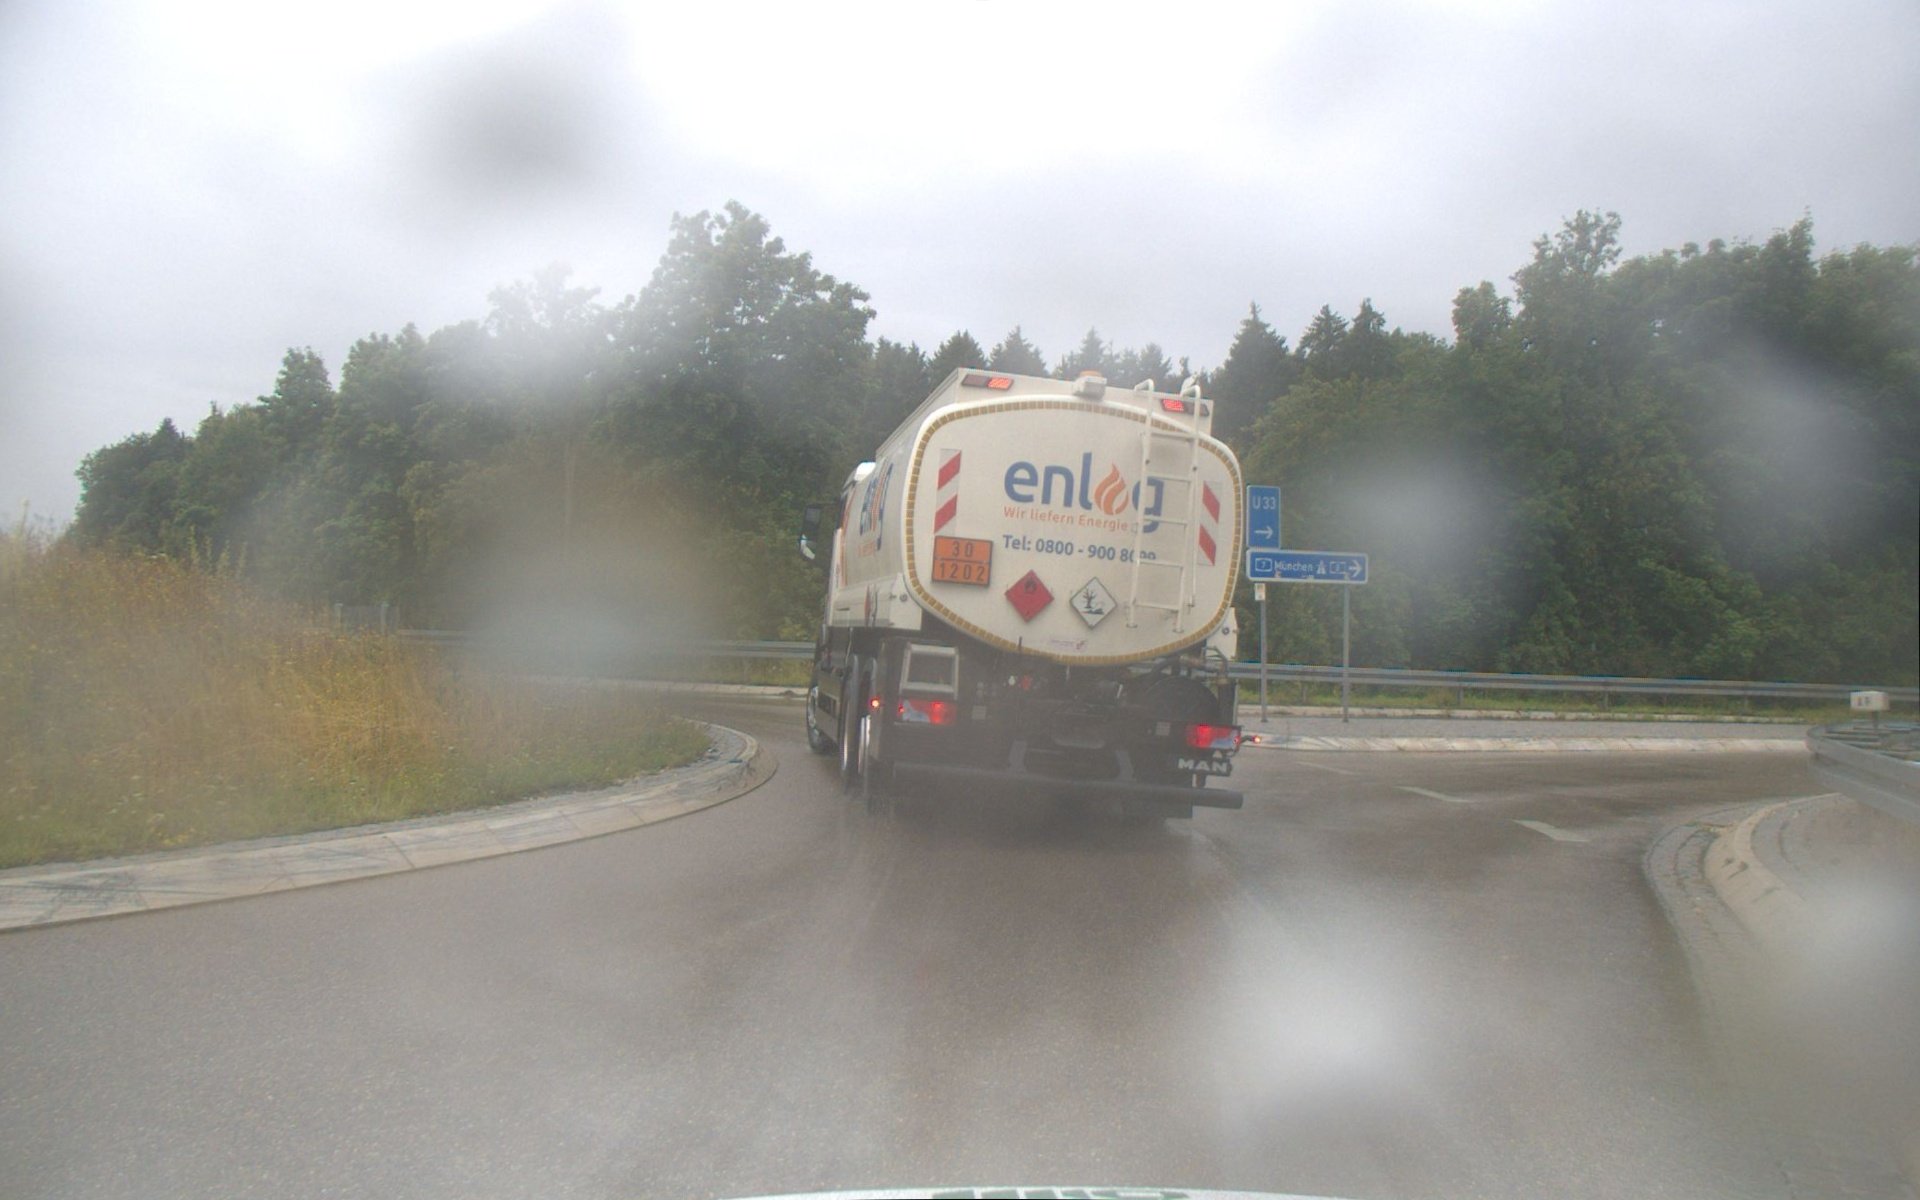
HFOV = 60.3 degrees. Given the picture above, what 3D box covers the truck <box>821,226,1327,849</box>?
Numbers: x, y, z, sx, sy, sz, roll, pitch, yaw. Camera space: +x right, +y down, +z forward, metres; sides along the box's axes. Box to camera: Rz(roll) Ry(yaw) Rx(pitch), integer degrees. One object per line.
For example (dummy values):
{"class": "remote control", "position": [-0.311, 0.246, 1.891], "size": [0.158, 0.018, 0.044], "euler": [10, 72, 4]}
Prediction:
{"class": "truck", "position": [0.406, -0.342, 15.120], "size": [2.981, 3.919, 8.809], "euler": [2, -1, -6]}
